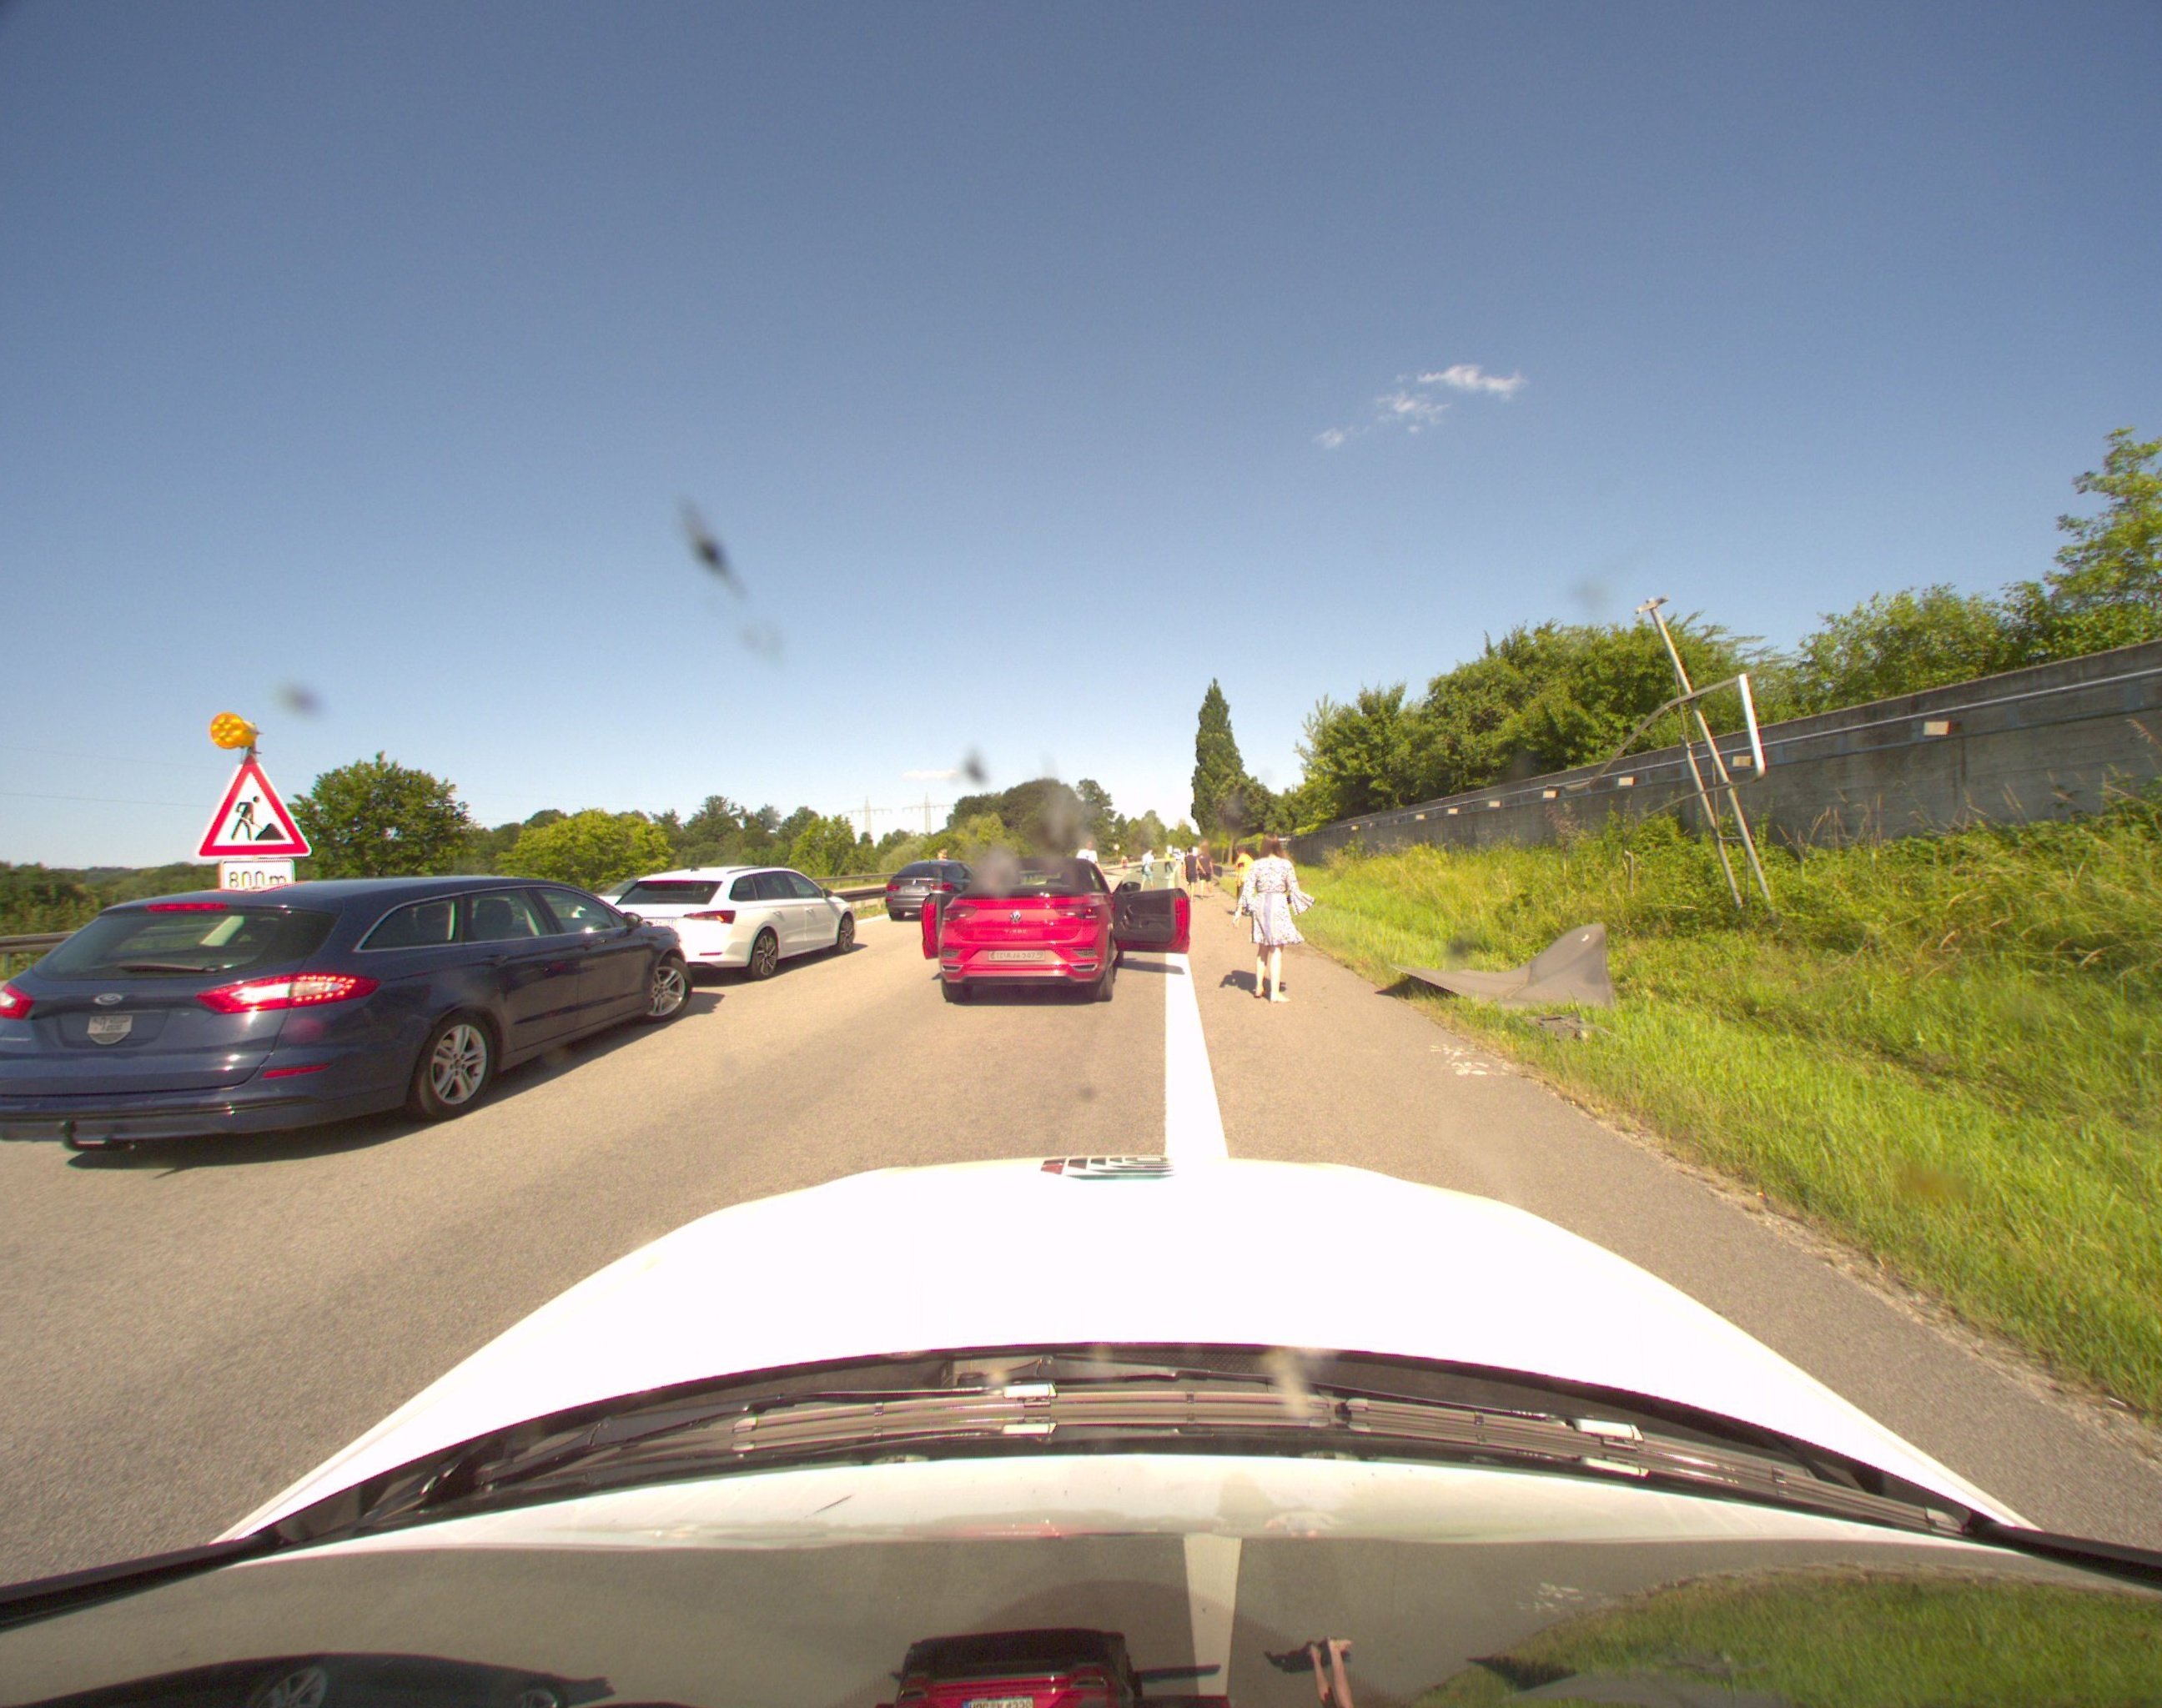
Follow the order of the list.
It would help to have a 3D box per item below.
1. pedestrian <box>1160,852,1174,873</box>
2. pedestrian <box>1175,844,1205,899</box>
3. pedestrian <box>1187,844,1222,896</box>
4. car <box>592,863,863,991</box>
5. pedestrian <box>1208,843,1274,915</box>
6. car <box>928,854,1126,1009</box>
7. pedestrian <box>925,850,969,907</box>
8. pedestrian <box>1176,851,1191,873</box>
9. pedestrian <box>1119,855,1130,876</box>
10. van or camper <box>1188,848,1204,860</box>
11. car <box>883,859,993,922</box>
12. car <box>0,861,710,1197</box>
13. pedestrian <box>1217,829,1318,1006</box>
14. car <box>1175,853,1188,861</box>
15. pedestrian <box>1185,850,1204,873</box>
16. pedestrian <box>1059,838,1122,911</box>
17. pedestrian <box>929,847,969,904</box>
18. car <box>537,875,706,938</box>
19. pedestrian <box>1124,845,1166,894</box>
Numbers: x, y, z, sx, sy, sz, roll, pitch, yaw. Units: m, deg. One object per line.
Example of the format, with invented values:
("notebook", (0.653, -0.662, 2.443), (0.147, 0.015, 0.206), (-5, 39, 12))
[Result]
("pedestrian", (7.116, 0.683, 67.438), (1.007, 1.689, 1.063), (-1, -1, 11))
("pedestrian", (3.468, 0.560, 25.994), (0.890, 1.725, 0.755), (-1, -1, 5))
("pedestrian", (4.199, 0.537, 27.735), (0.817, 1.759, 0.819), (0, -1, -34))
("car", (-4.712, 0.882, 11.636), (1.686, 1.441, 4.217), (-1, 0, 6))
("pedestrian", (3.821, 0.589, 19.400), (1.262, 1.653, 0.966), (-3, 0, 27))
("car", (-0.417, 0.756, 10.008), (1.724, 1.487, 4.217), (-1, 0, 6))
("pedestrian", (-4.368, 0.781, 26.641), (1.109, 1.763, 1.045), (-2, 0, 5))
("pedestrian", (7.782, 0.592, 62.080), (1.108, 1.689, 0.975), (-1, -1, 5))
("pedestrian", (3.702, 0.974, 68.844), (0.786, 1.689, 0.794), (-1, -1, 10))
("van or camper", (22.790, -0.042, 160.717), (1.976, 2.316, 4.495), (-1, -1, 23))
("car", (-3.606, 0.871, 21.329), (1.686, 1.426, 4.341), (-1, 0, 6))
("car", (-4.632, 0.848, 6.104), (1.784, 1.493, 4.488), (-2, 0, -3))
("pedestrian", (1.935, 0.619, 8.438), (0.883, 1.695, 1.133), (-2, 0, 14))
("car", (20.754, 0.600, 167.783), (1.717, 1.487, 4.233), (-1, 0, 22))
("pedestrian", (8.592, 0.587, 61.704), (1.012, 1.689, 0.991), (0, -1, -24))
("pedestrian", (0.254, 0.542, 22.332), (1.241, 1.912, 1.116), (-3, 0, 43))
("pedestrian", (-4.507, 0.720, 27.852), (1.060, 1.883, 1.095), (-2, 0, 5))
("car", (-12.267, 1.342, 22.118), (1.685, 1.426, 4.315), (-1, 0, 8))
("pedestrian", (2.386, 0.557, 30.436), (1.095, 1.789, 1.096), (0, -1, -33))
